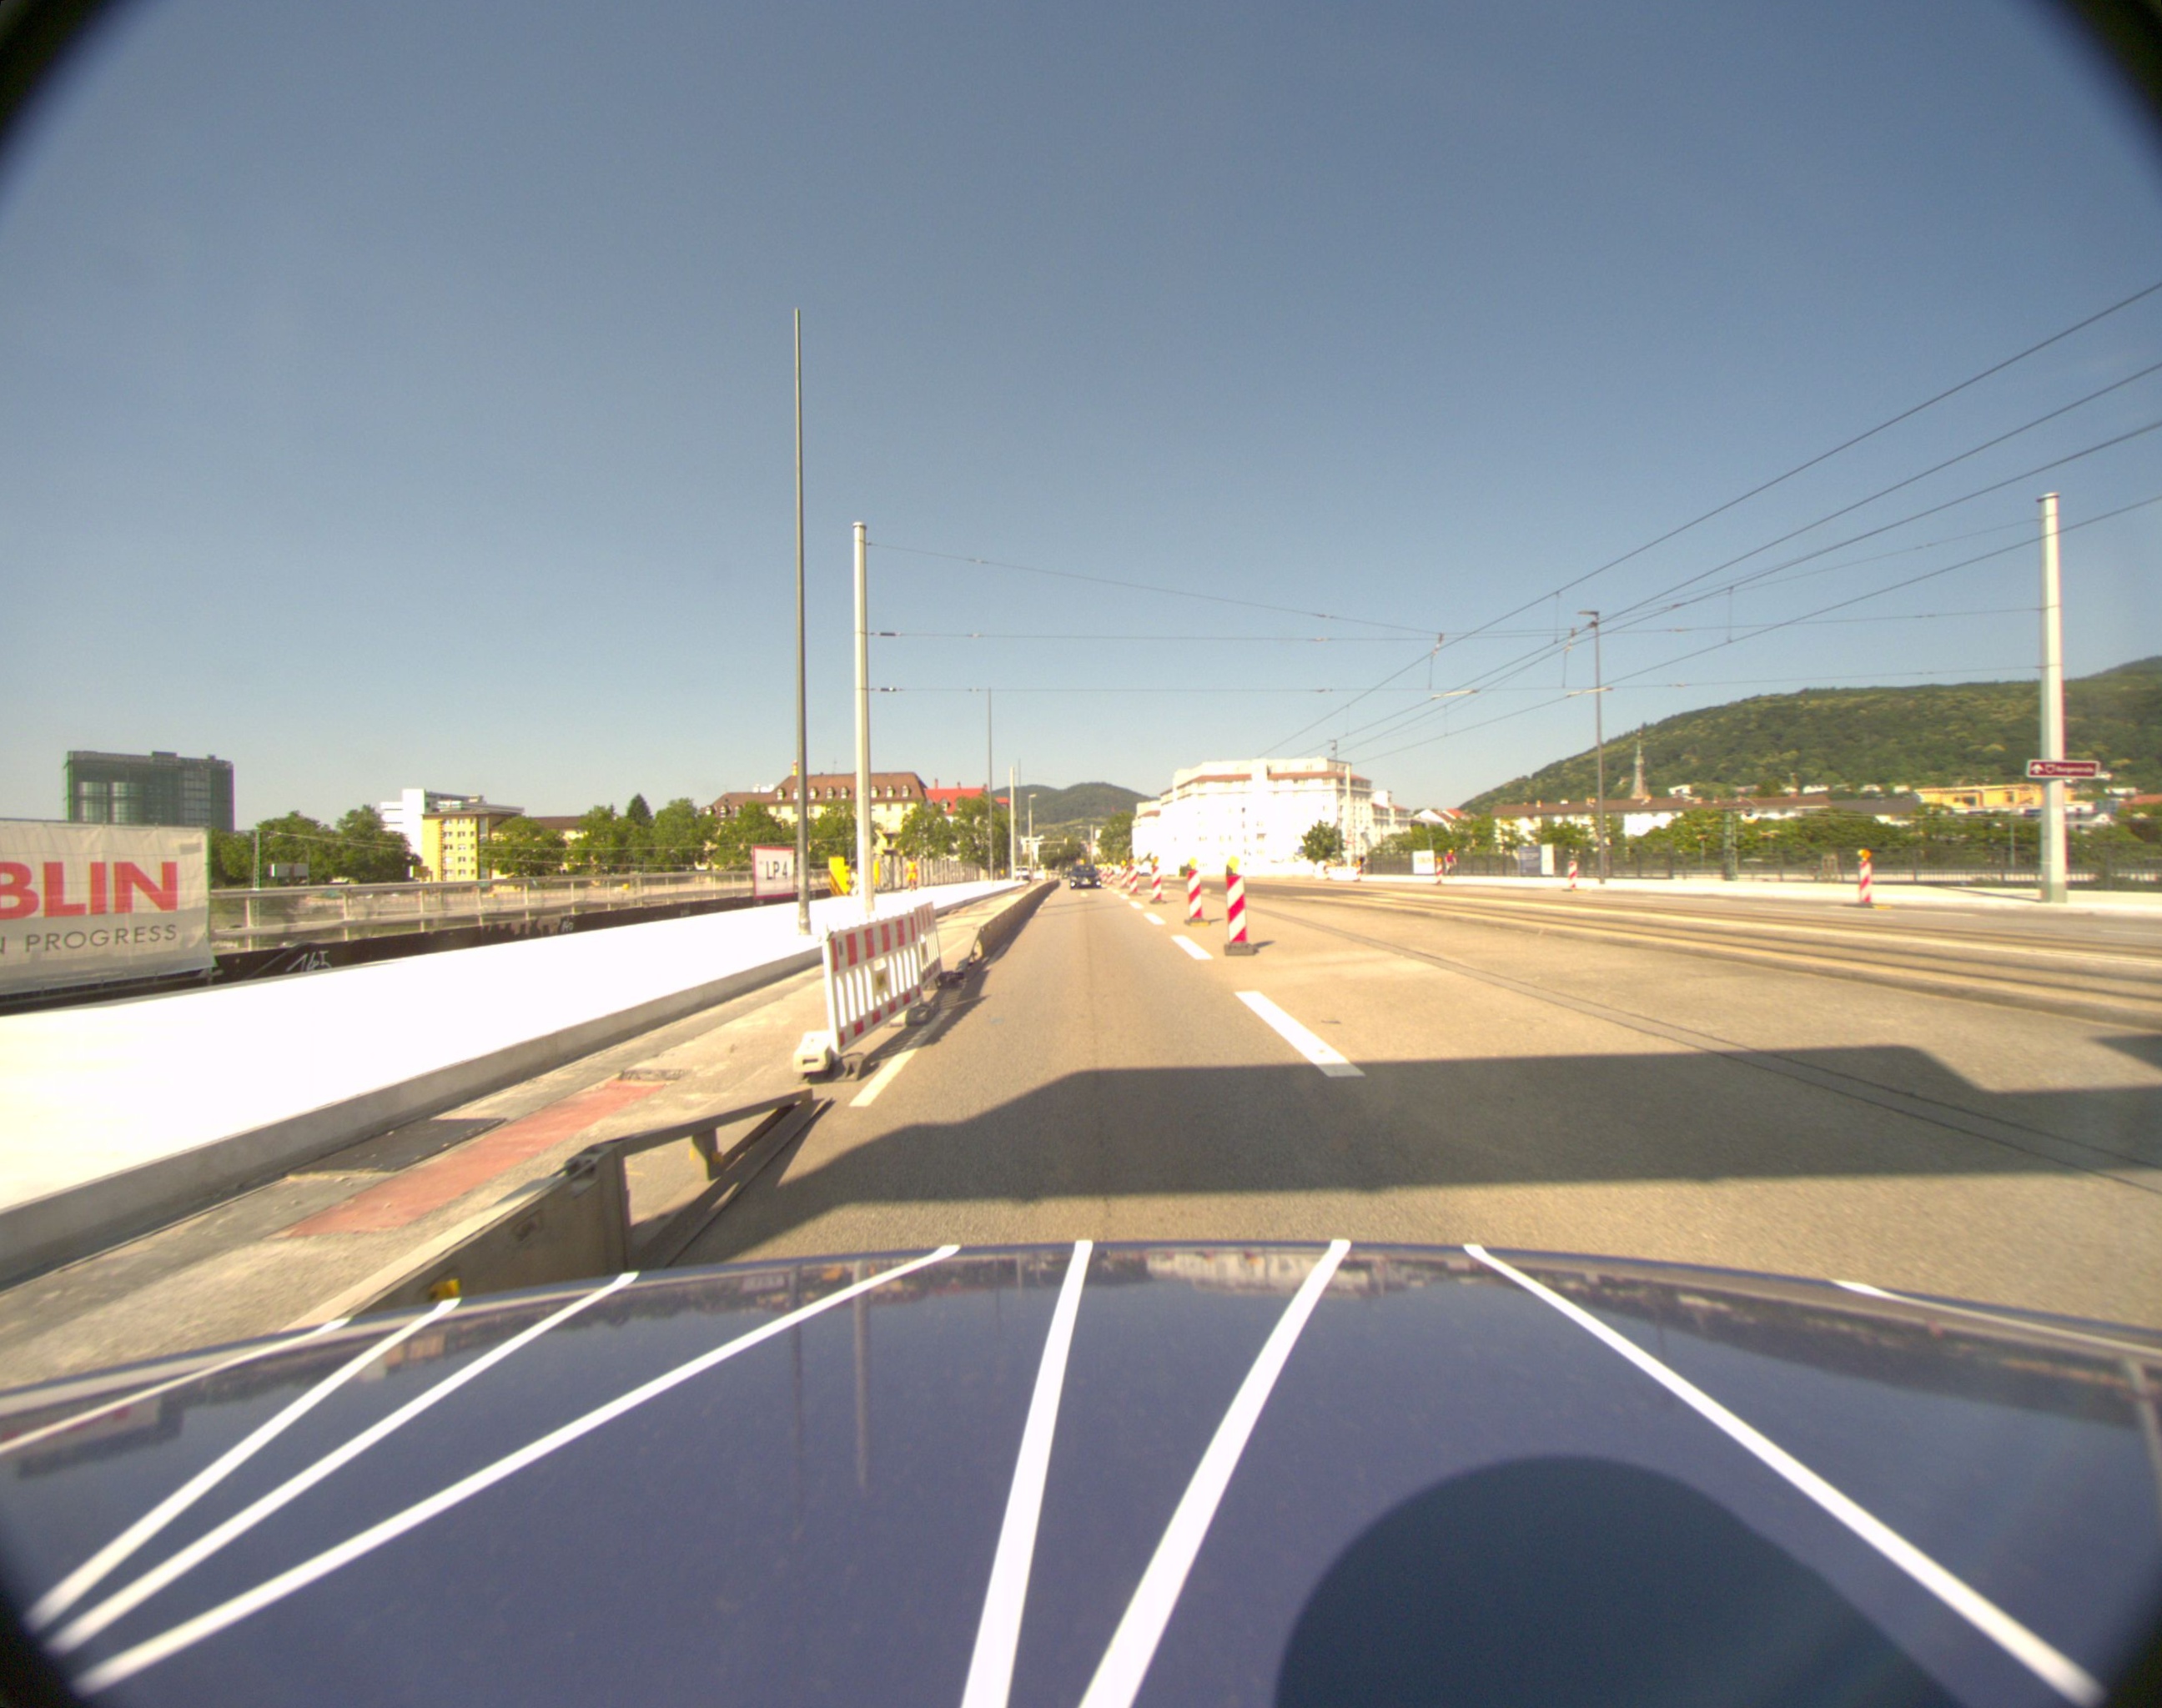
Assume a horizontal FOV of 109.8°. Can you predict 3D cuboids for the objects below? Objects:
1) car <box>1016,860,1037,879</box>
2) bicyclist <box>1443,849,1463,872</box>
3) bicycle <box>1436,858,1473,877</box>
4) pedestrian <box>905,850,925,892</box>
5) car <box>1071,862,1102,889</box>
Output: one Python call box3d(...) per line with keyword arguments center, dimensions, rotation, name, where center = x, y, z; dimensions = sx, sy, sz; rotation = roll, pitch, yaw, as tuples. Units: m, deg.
box3d(center=(-6.609, 1.908, 92.574), dimensions=(1.938, 2.077, 6.472), rotation=(-2, -2, 1), name="car")
box3d(center=(24.511, 0.431, 50.056), dimensions=(0.858, 1.510, 0.817), rotation=(-2, 0, -1), name="bicyclist")
box3d(center=(24.534, 0.882, 49.997), dimensions=(0.858, 1.187, 3.072), rotation=(-2, 0, -1), name="bicycle")
box3d(center=(-7.843, 0.780, 35.890), dimensions=(0.733, 1.953, 1.016), rotation=(0, 0, 0), name="pedestrian")
box3d(center=(0.281, 1.248, 44.565), dimensions=(1.698, 1.388, 4.362), rotation=(-3, 0, -1), name="car")
